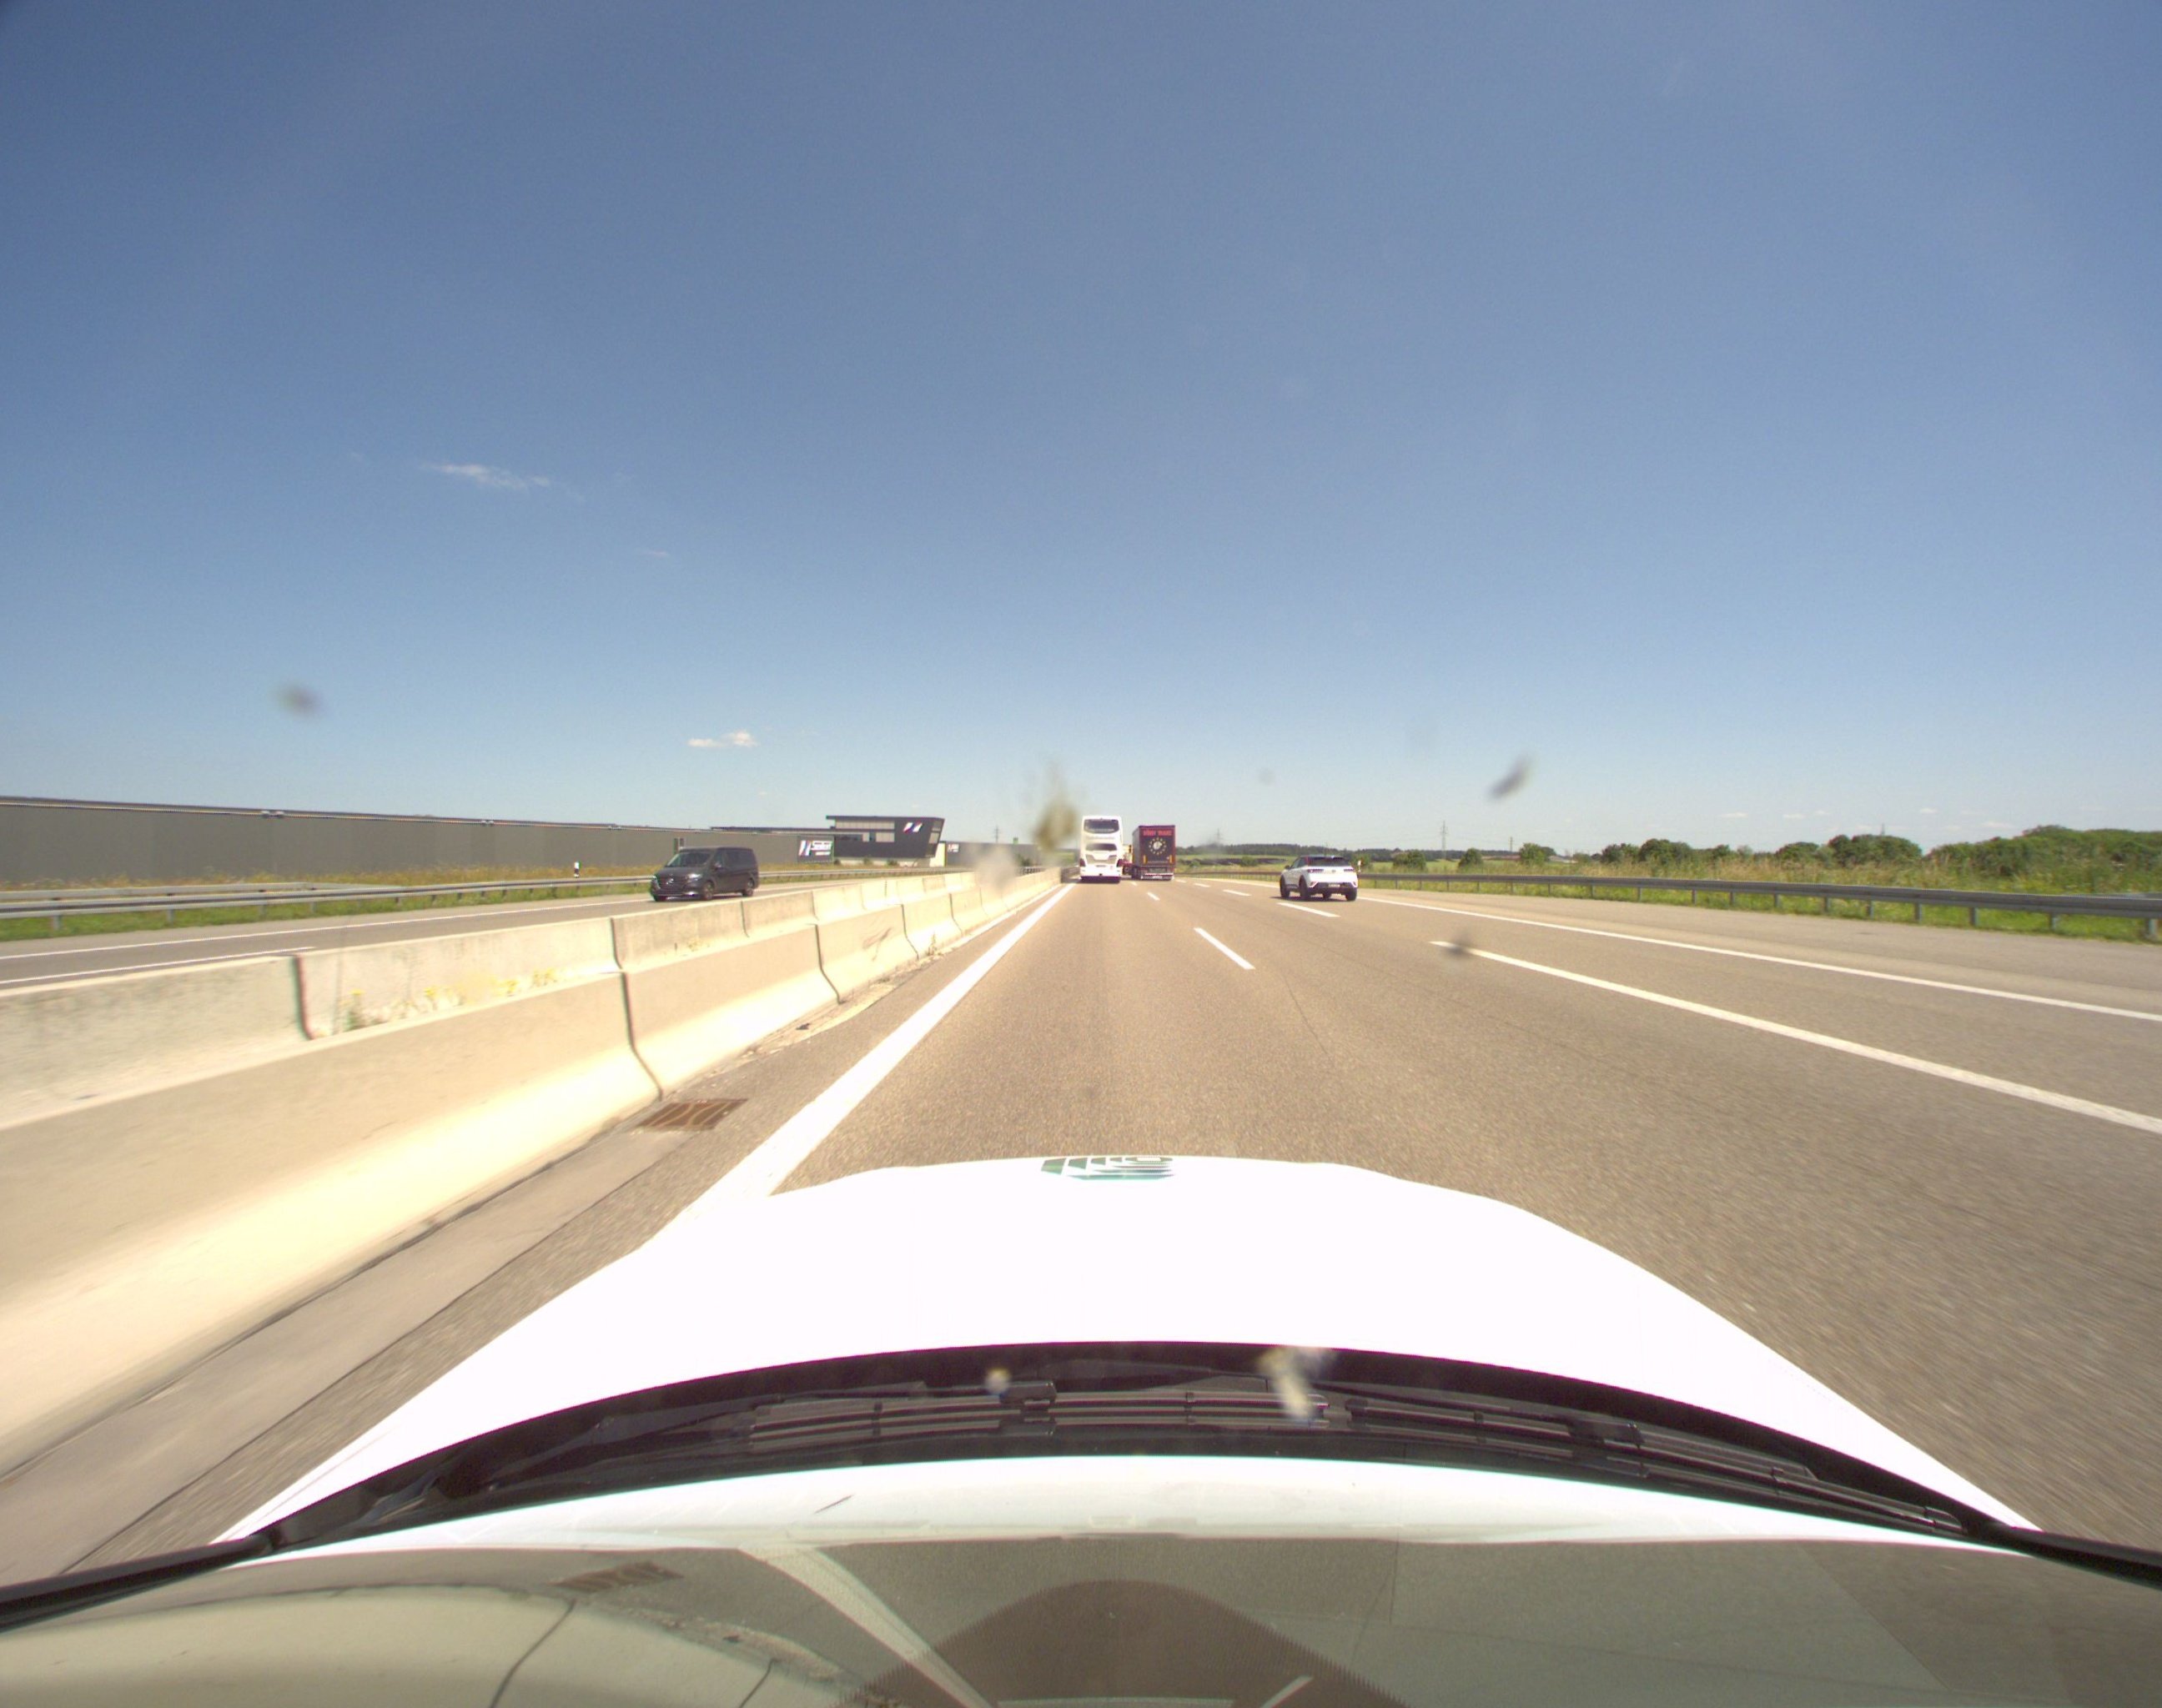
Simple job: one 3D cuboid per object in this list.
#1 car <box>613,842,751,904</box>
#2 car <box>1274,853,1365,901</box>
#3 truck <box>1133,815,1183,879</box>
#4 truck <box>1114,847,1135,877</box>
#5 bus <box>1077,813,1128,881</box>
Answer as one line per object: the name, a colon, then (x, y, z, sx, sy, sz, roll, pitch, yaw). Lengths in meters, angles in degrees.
car: (-14.129, 0.618, 29.296, 2.139, 2.013, 5.384, 0, 0, 2)
car: (8.184, 0.738, 28.311, 1.885, 1.529, 4.260, 0, 0, -1)
truck: (5.856, -0.306, 64.101, 3.365, 4.464, 13.576, 0, -2, 3)
truck: (5.621, 1.009, 106.497, 2.429, 3.789, 6.493, 0, -1, 0)
bus: (1.289, -0.475, 52.424, 2.970, 3.974, 9.105, 0, 1, 0)
